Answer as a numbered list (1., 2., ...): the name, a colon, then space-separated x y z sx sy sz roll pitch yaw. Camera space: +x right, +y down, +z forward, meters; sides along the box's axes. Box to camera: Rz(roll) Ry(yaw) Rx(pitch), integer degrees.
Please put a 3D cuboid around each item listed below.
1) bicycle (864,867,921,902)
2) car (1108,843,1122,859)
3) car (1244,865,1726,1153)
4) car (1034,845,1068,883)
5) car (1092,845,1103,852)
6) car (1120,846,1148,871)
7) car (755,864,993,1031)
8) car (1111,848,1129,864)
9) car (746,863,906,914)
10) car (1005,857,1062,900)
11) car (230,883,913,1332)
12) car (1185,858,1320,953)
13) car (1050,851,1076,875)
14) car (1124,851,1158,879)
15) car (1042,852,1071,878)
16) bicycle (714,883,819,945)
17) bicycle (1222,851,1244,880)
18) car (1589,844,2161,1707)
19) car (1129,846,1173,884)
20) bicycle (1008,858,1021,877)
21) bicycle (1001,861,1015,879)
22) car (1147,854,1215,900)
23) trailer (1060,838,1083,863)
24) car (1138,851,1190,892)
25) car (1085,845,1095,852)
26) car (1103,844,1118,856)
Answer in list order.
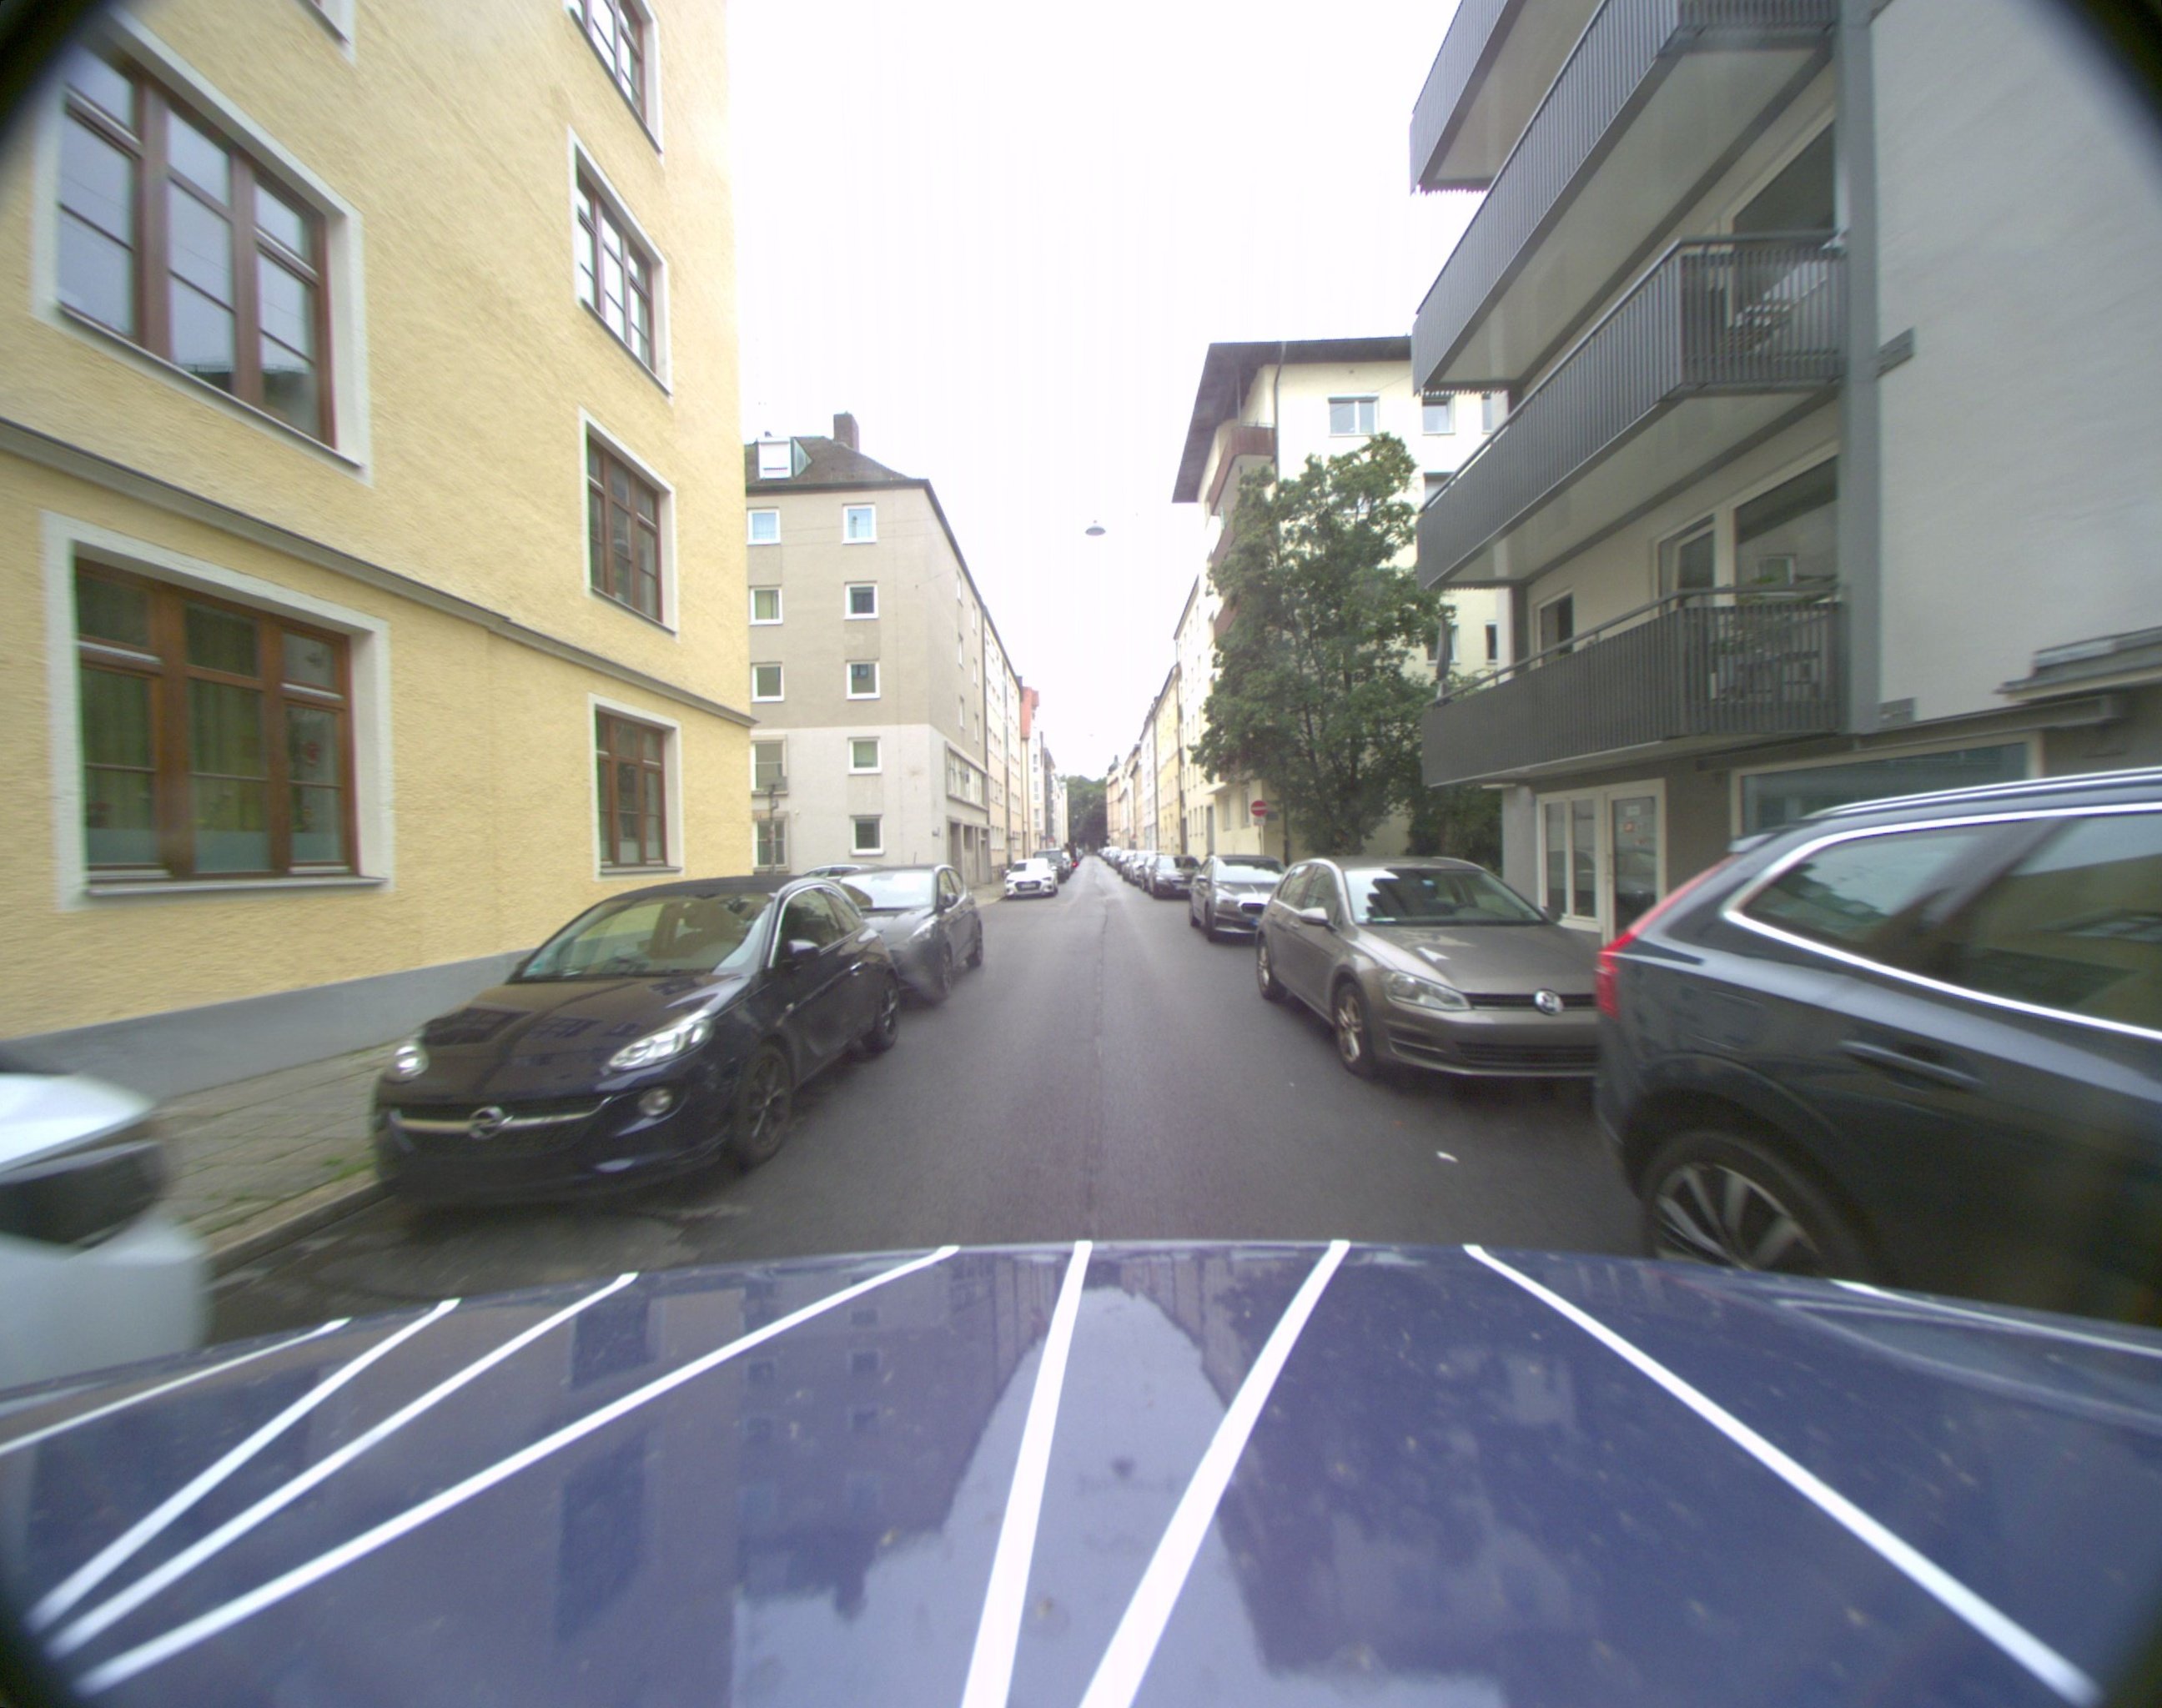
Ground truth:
1. bicycle: -6.569 1.051 26.486 1.801 1.109 0.465 -2 1 0
2. car: 4.211 -0.372 93.948 1.728 1.779 4.248 0 2 2
3. car: 2.576 0.853 6.022 1.697 1.434 3.977 0 0 0
4. car: -1.674 0.564 44.002 1.755 1.964 4.342 -4 0 -1
5. car: 3.737 -1.236 176.756 1.800 1.501 3.995 0 1 -10
6. car: 3.699 0.286 53.939 1.883 1.650 4.414 -1 1 3
7. car: -2.300 0.959 9.716 1.755 1.461 4.342 -4 0 0
8. car: 3.634 0.188 70.626 1.566 1.452 3.404 -1 1 3
9. car: -7.666 1.020 23.182 4.215 1.391 2.000 -1 -1 -2
10. car: -1.732 0.879 28.935 1.823 1.400 3.952 -3 0 1
11. car: -2.379 1.054 4.837 1.668 1.461 3.818 -4 0 0
12. car: 2.966 0.818 13.917 1.697 1.434 3.942 0 0 2
13. car: -1.256 0.598 53.889 1.716 1.477 4.243 -3 1 -1
14. car: 3.282 0.586 41.936 1.656 1.427 3.802 -1 1 1
15. car: -1.532 0.657 48.746 1.716 1.477 4.243 -3 1 -1
16. bicycle: -6.075 1.159 14.719 1.812 1.167 0.505 0 -1 -1
17. bicycle: 6.374 0.479 31.918 0.646 1.155 1.789 0 1 2
18. car: 2.474 0.801 0.248 1.781 1.620 4.415 0 0 2
19. car: 3.326 0.482 36.754 1.770 1.666 4.366 -1 1 0
20. bicycle: -4.205 0.836 48.255 0.656 1.100 1.760 2 1 1
21. bicycle: -4.285 0.931 44.724 0.646 1.023 1.796 2 1 1
22. car: 3.274 0.707 25.638 1.860 1.400 4.383 0 0 2
23. trailer: -0.848 -0.346 65.987 1.360 2.104 3.314 -2 1 -9
24. car: 3.308 0.641 30.963 1.770 1.475 4.423 -1 1 2
25. car: 2.156 -1.363 185.056 1.800 1.501 3.995 0 1 -10
26. car: 4.193 -0.588 108.620 1.786 1.596 4.307 0 1 -3
